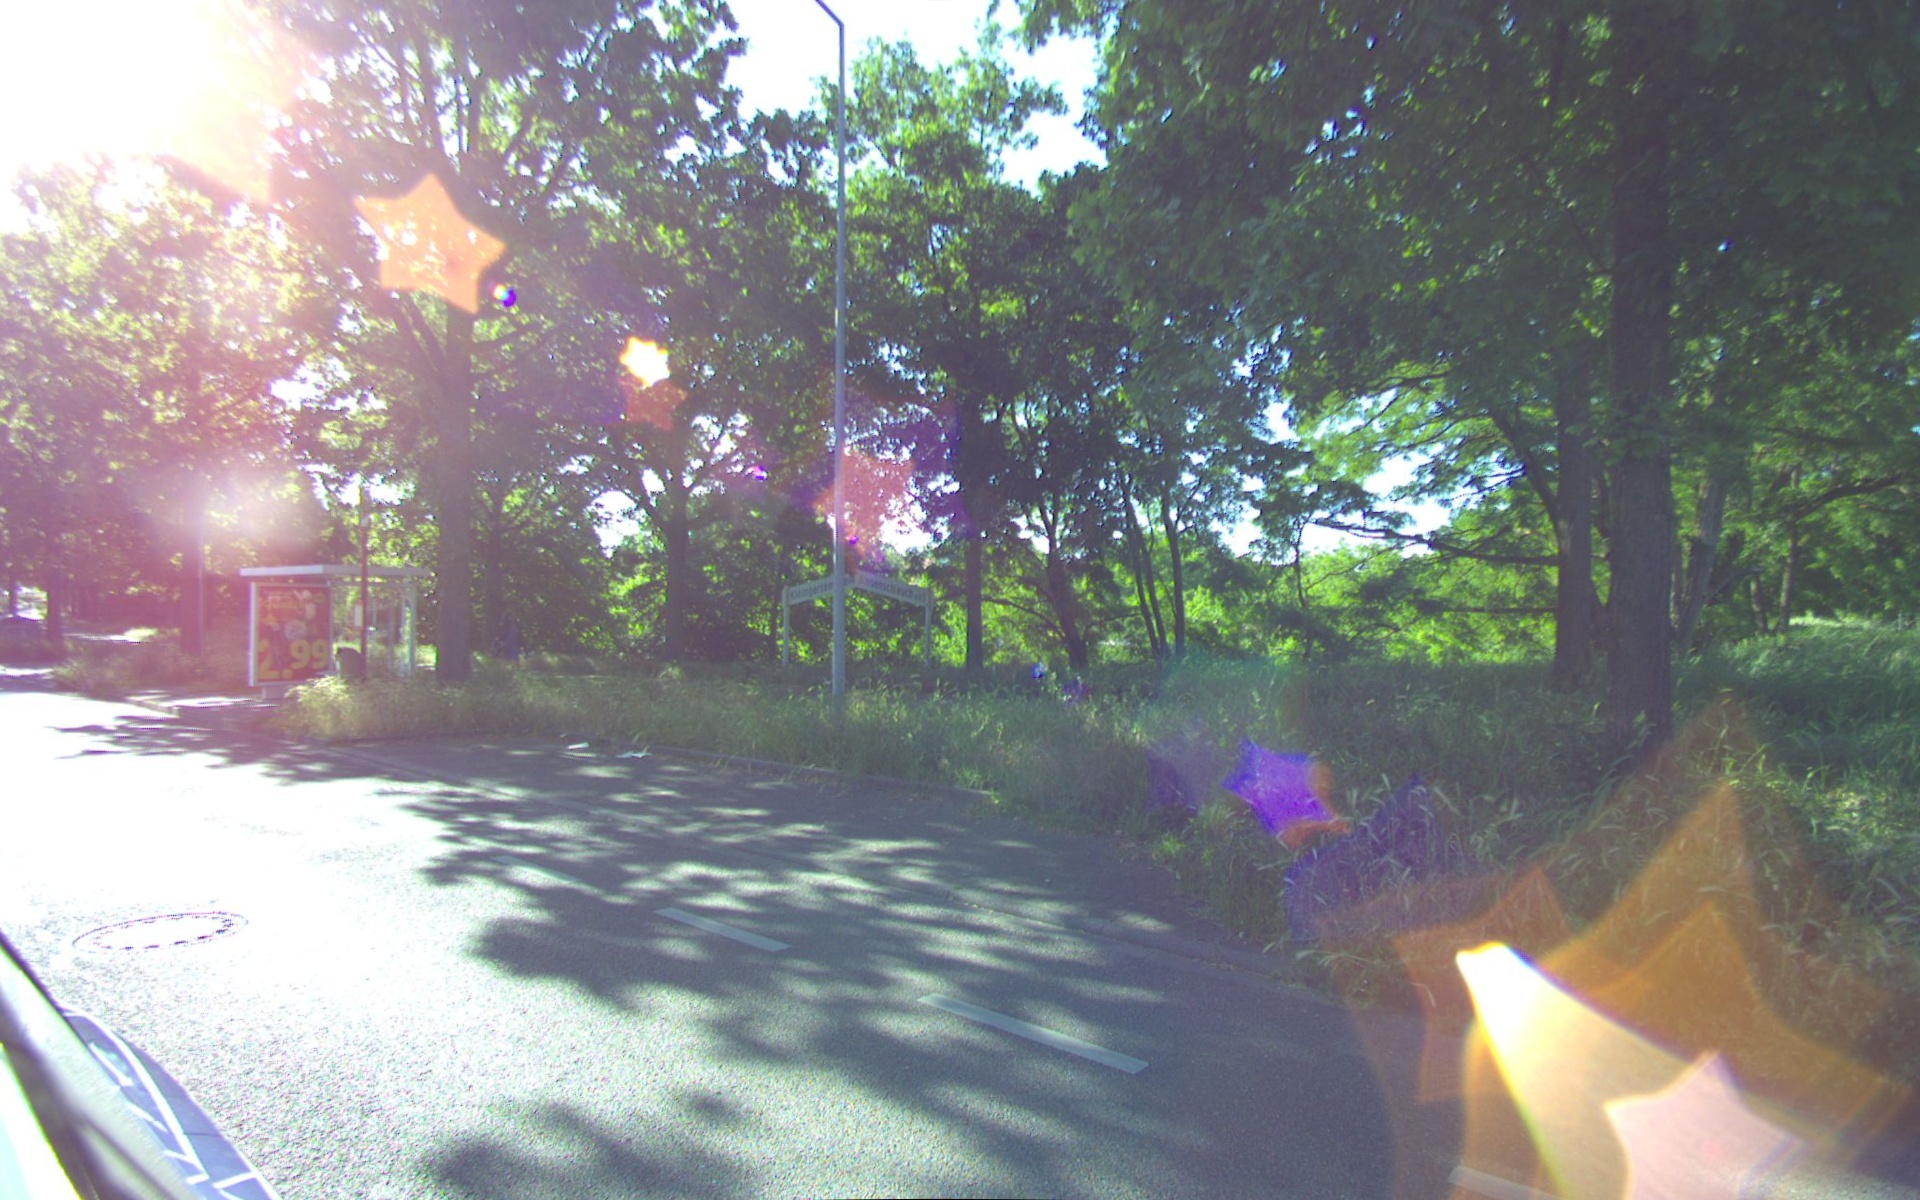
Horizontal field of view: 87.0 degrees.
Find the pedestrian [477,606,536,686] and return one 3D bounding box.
[{"bbox_3d":[-10.071,1.004,22.474,0.891,1.701,0.903,-2,-1,42],"label":"pedestrian"}]
